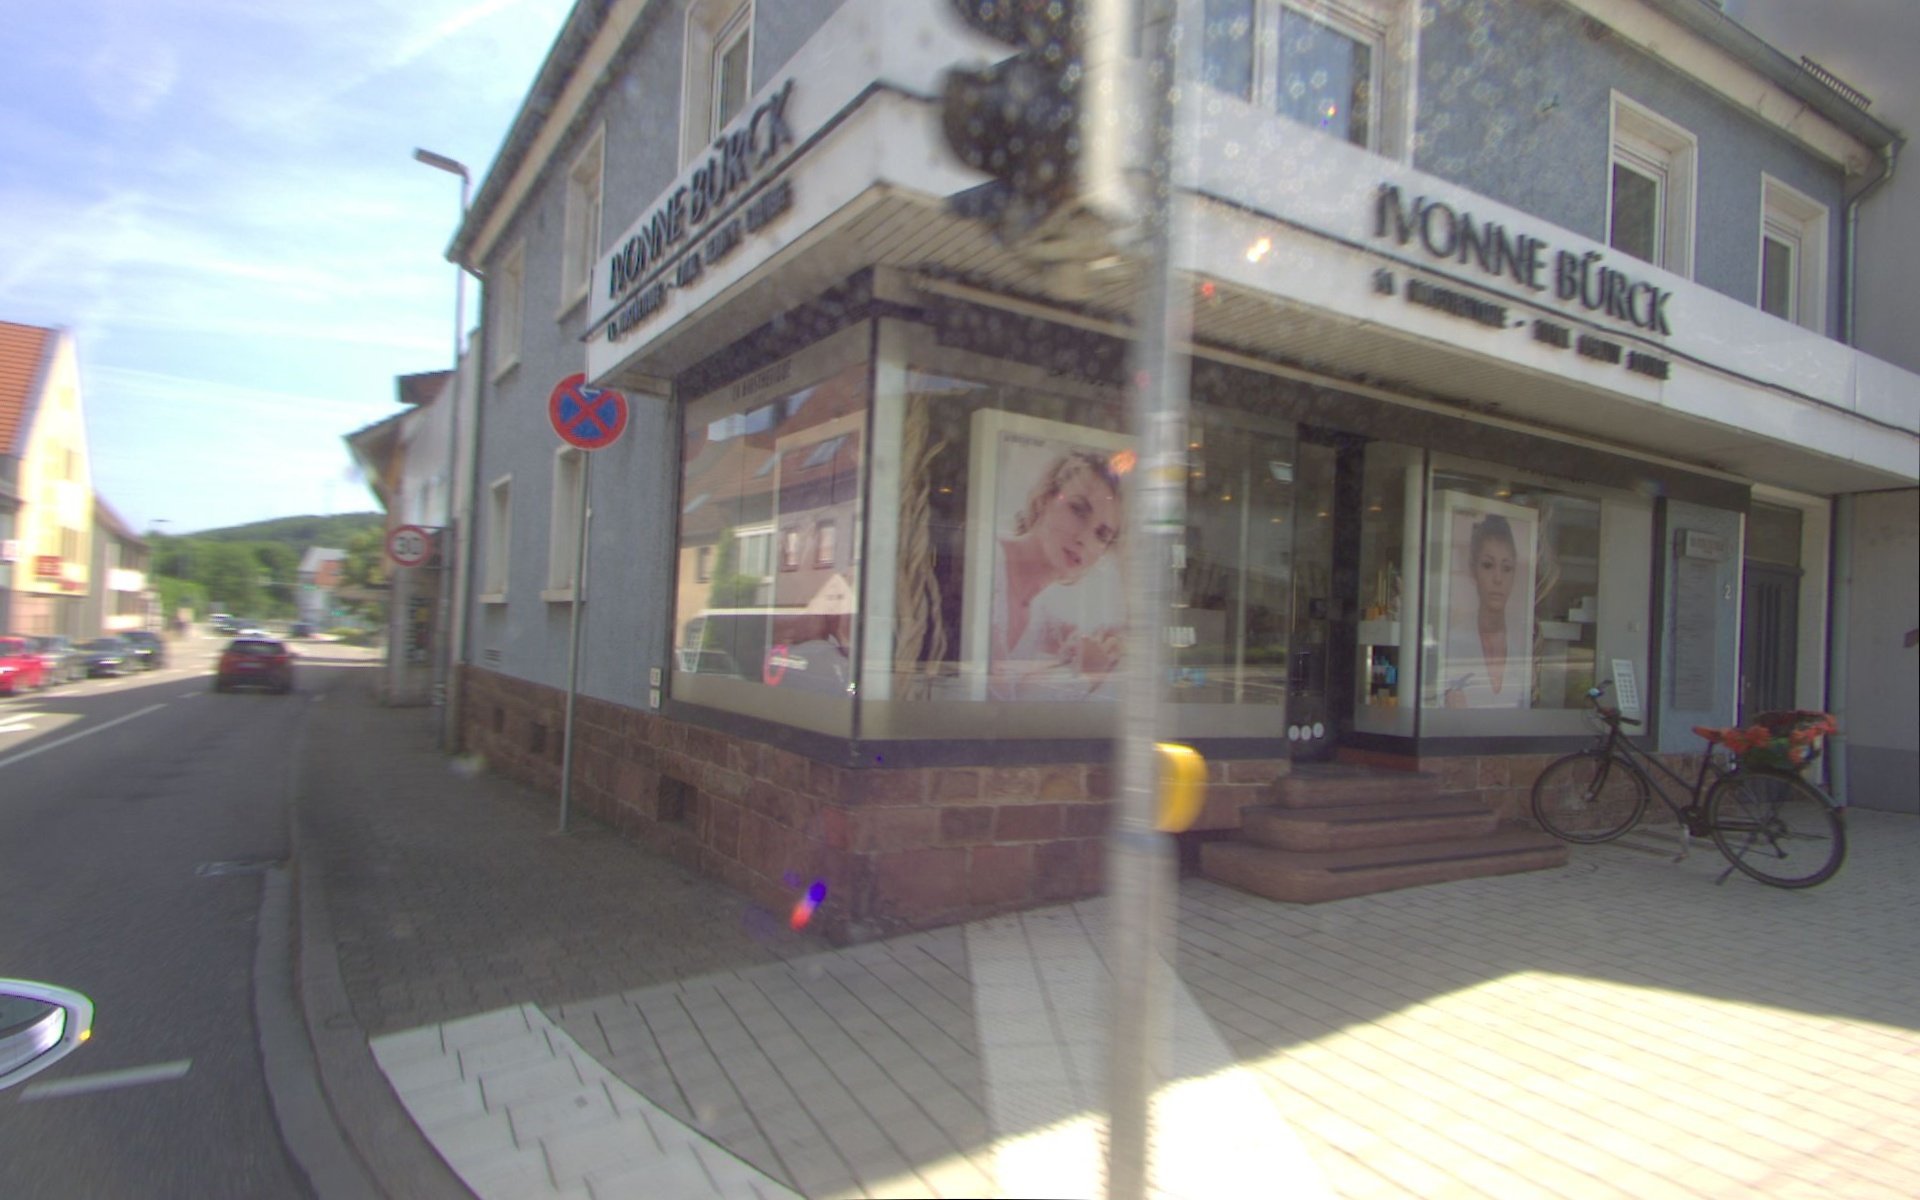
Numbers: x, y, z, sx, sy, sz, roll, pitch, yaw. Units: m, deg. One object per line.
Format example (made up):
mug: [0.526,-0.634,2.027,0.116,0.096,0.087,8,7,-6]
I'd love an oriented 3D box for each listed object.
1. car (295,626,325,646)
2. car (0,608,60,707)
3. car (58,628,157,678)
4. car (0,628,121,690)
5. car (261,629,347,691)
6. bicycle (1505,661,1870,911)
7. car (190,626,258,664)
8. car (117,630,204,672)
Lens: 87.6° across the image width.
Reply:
car: [-61.643,3.438,94.974,1.910,1.815,3.942,3,-5,-27]
car: [-20.356,1.143,20.542,1.863,1.914,4.529,2,-2,-30]
car: [-27.628,1.698,32.584,1.611,1.539,4.001,2,-3,-29]
car: [-23.635,1.510,26.272,1.740,1.511,4.056,2,-3,-30]
car: [-20.713,1.861,31.771,1.839,1.735,4.401,5,-4,-29]
bicycle: [4.399,1.042,6.233,0.541,1.250,1.803,2,-1,-23]
car: [-33.254,2.026,45.343,1.846,1.609,4.498,2,-3,-29]
car: [-30.145,1.906,37.882,1.769,1.469,4.404,2,-3,-29]
